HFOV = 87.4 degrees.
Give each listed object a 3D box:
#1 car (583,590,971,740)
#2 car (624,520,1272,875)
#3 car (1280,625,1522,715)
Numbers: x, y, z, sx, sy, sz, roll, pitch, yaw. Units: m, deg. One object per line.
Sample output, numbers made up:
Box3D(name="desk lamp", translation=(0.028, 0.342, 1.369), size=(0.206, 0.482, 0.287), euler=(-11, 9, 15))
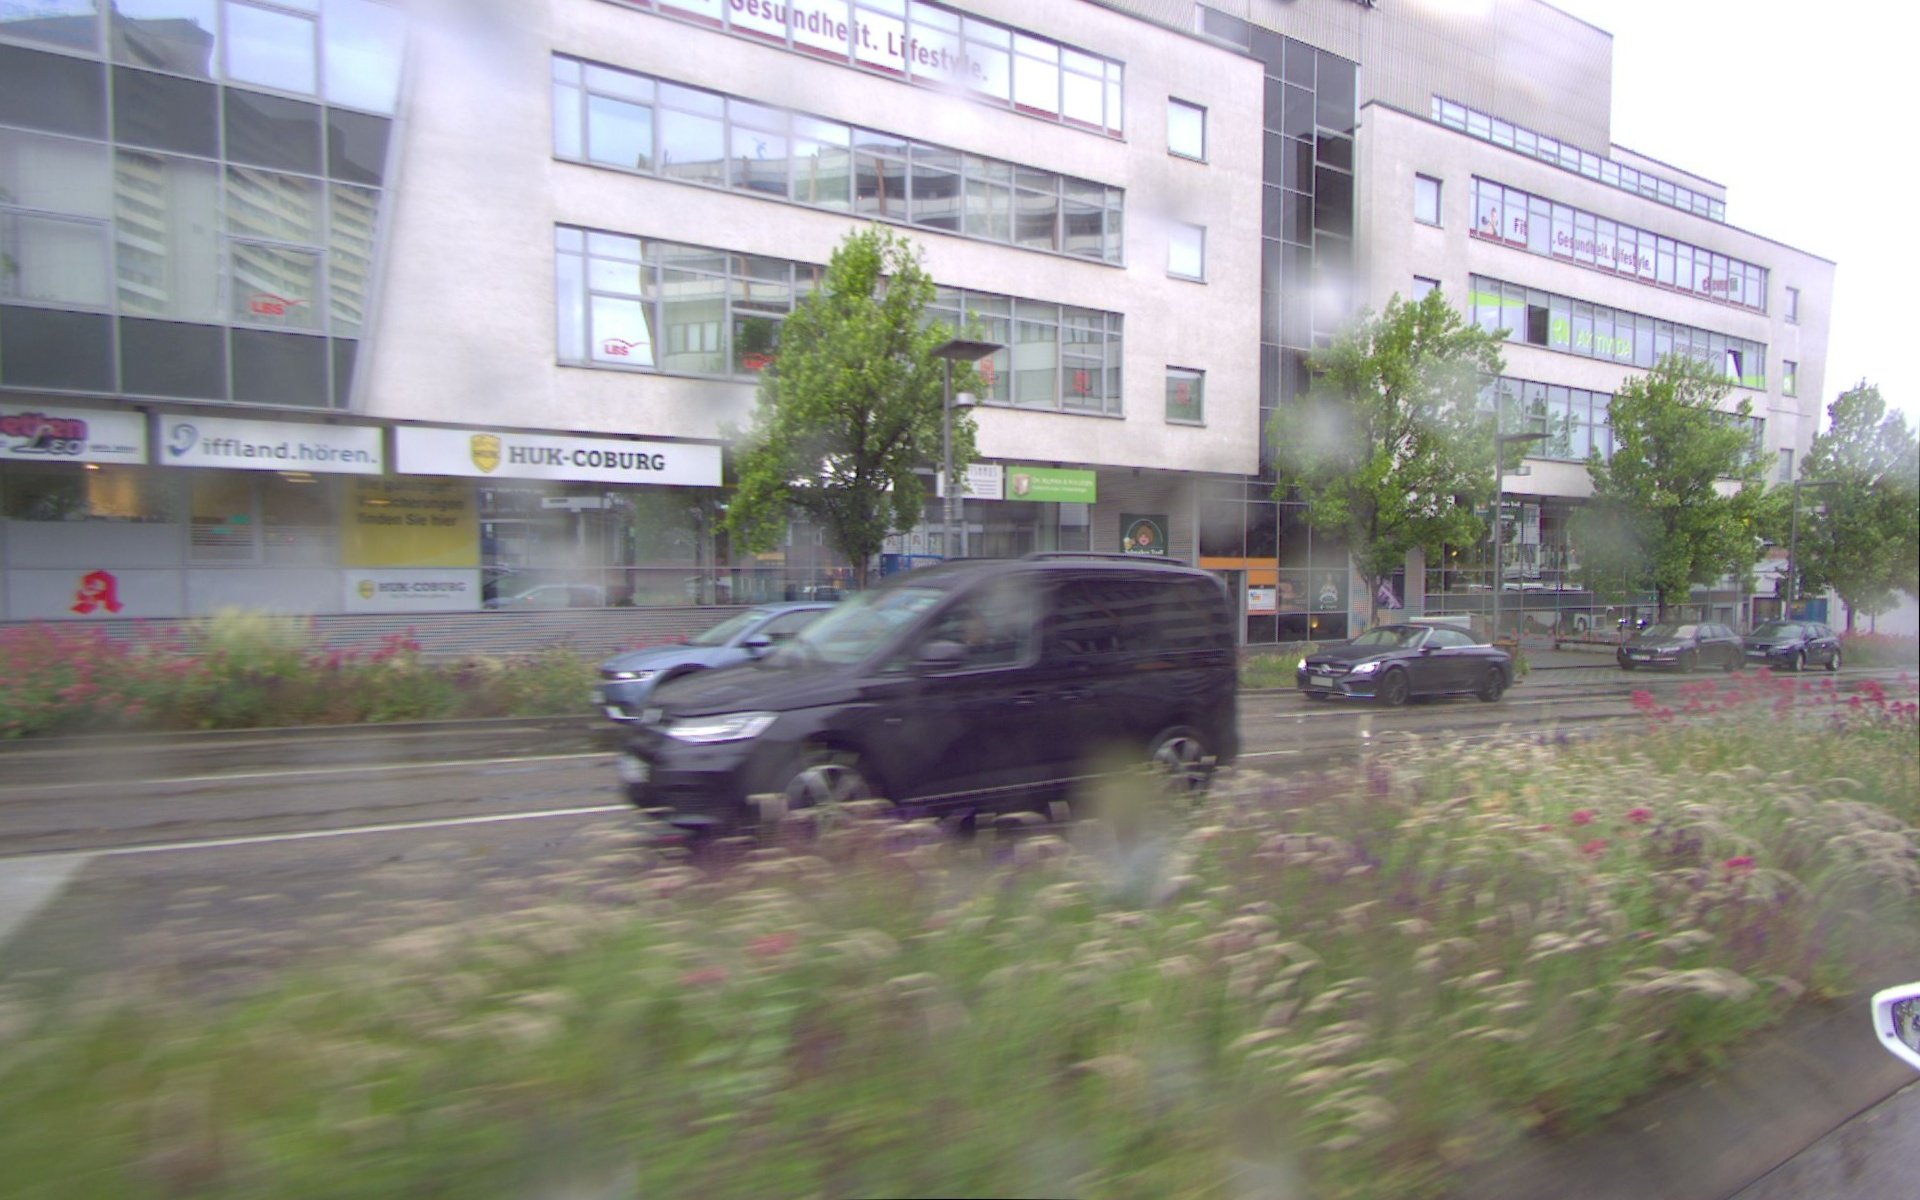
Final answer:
Box3D(name="car", translation=(-2.251, 0.761, 12.727), size=(4.532, 1.615, 1.766), euler=(1, -3, -29))
Box3D(name="car", translation=(0.003, 0.538, 7.206), size=(4.250, 1.848, 1.983), euler=(1, 0, -32))
Box3D(name="car", translation=(8.058, 1.187, 18.224), size=(4.547, 1.406, 1.717), euler=(1, 0, -31))
